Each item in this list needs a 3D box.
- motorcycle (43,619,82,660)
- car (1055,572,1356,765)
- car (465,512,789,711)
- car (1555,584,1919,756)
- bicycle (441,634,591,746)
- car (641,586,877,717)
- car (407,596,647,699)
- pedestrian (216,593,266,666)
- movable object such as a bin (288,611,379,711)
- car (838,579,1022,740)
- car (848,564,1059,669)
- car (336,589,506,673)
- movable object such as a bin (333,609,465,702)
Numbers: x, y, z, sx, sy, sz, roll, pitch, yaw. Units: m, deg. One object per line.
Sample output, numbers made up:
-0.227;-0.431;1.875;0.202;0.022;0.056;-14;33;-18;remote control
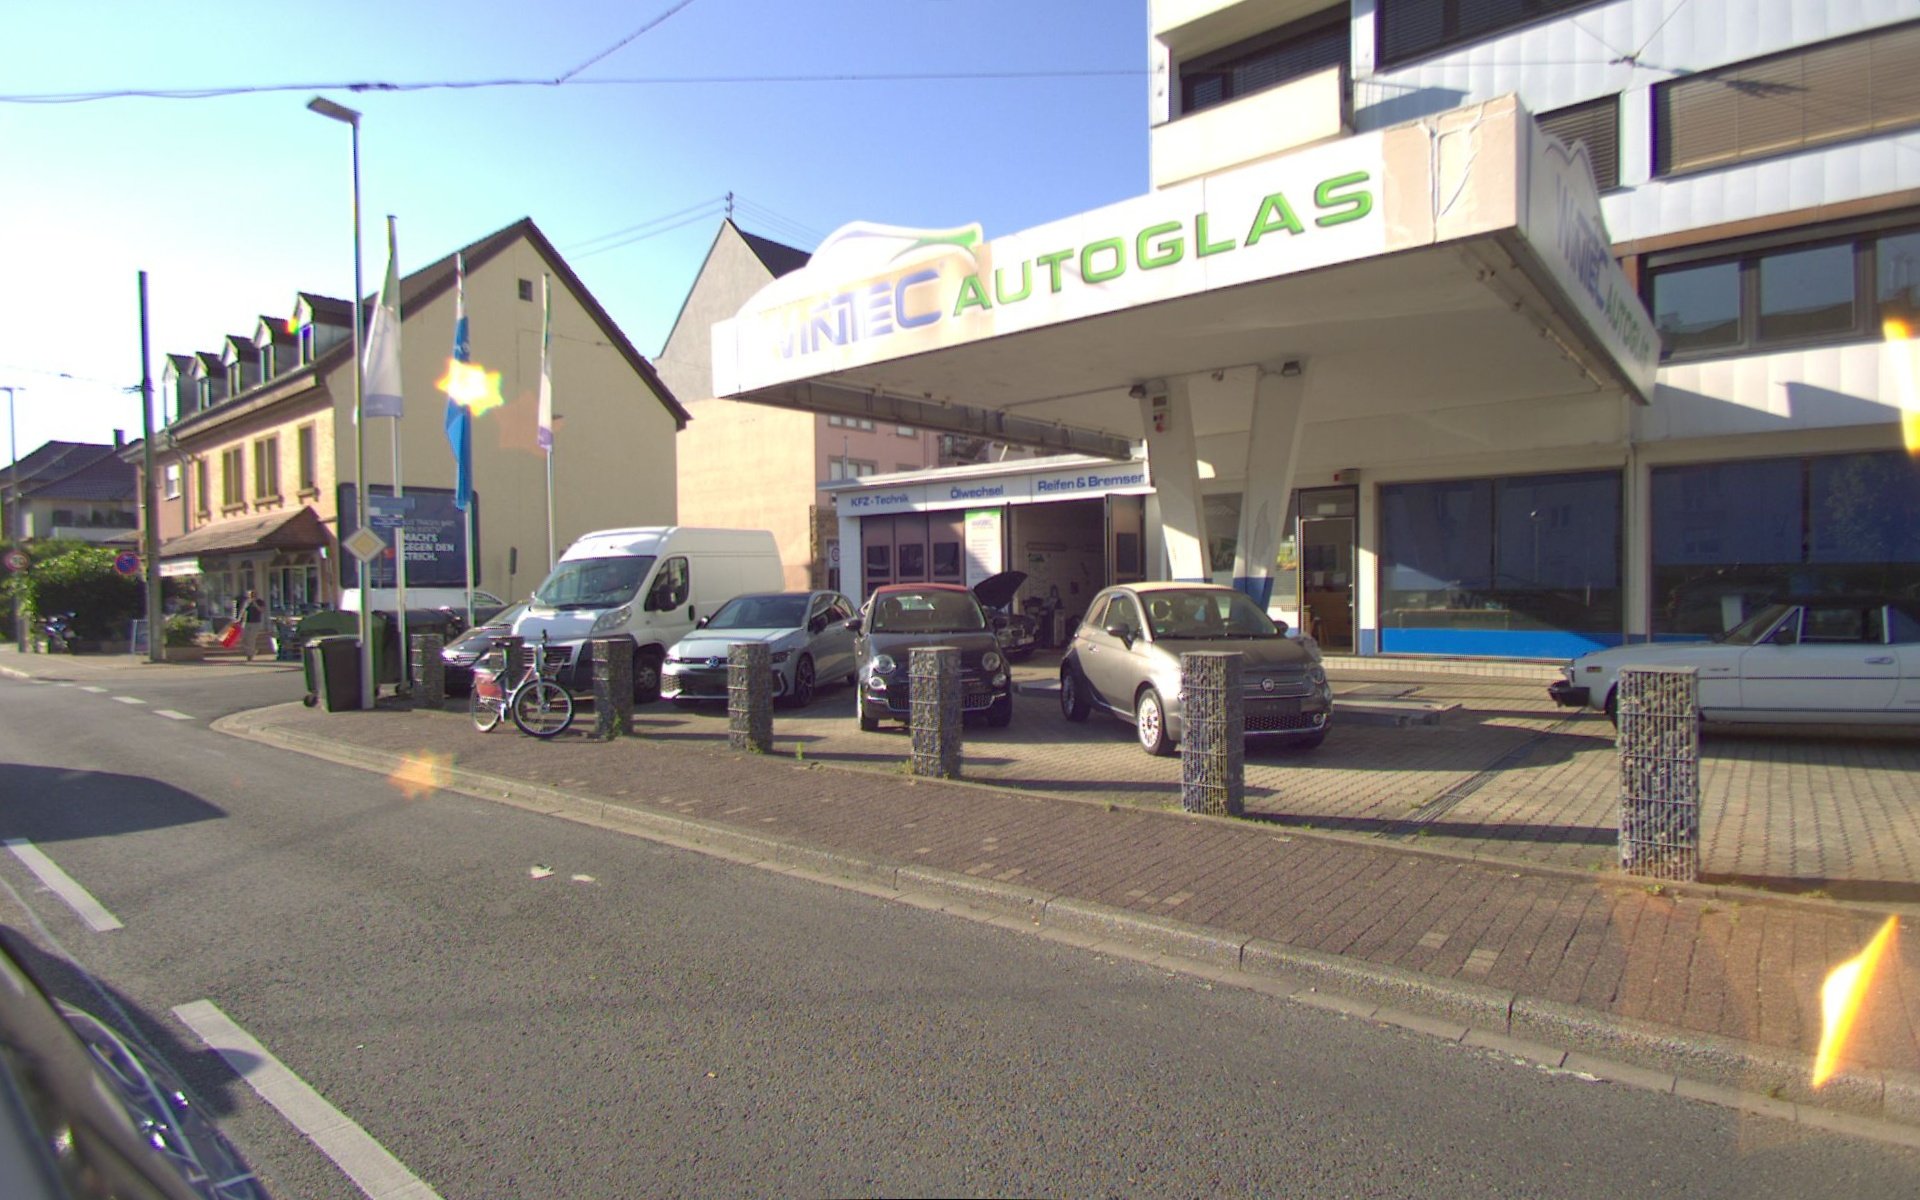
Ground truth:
-27.969;1.203;31.532;2.186;1.226;0.699;-1;0;43;motorcycle
2.151;0.534;9.798;1.517;1.497;3.381;-1;0;-11;car
-4.690;0.130;15.227;2.098;2.472;4.963;-1;0;18;car
7.383;0.541;8.575;3.898;1.308;1.506;-1;-1;37;car
-4.898;0.940;11.126;1.789;1.094;0.716;-1;1;37;bicycle
-2.534;0.587;13.808;1.725;1.508;4.016;-1;0;12;car
-7.064;0.702;17.012;1.725;1.488;4.016;-1;0;12;car
-18.972;0.766;26.719;0.764;1.866;0.815;-1;0;29;pedestrian
-9.708;0.916;15.717;1.030;1.475;0.798;-1;0;-18;movable object such as a bin
-0.485;0.563;11.512;1.569;1.508;3.443;-1;0;-10;car
-0.209;0.319;20.924;4.255;1.958;1.720;-1;0;40;car
-13.895;0.738;26.256;1.449;2.029;3.628;-1;0;37;car
-9.579;0.914;17.373;1.039;1.475;1.787;-1;0;15;movable object such as a bin
